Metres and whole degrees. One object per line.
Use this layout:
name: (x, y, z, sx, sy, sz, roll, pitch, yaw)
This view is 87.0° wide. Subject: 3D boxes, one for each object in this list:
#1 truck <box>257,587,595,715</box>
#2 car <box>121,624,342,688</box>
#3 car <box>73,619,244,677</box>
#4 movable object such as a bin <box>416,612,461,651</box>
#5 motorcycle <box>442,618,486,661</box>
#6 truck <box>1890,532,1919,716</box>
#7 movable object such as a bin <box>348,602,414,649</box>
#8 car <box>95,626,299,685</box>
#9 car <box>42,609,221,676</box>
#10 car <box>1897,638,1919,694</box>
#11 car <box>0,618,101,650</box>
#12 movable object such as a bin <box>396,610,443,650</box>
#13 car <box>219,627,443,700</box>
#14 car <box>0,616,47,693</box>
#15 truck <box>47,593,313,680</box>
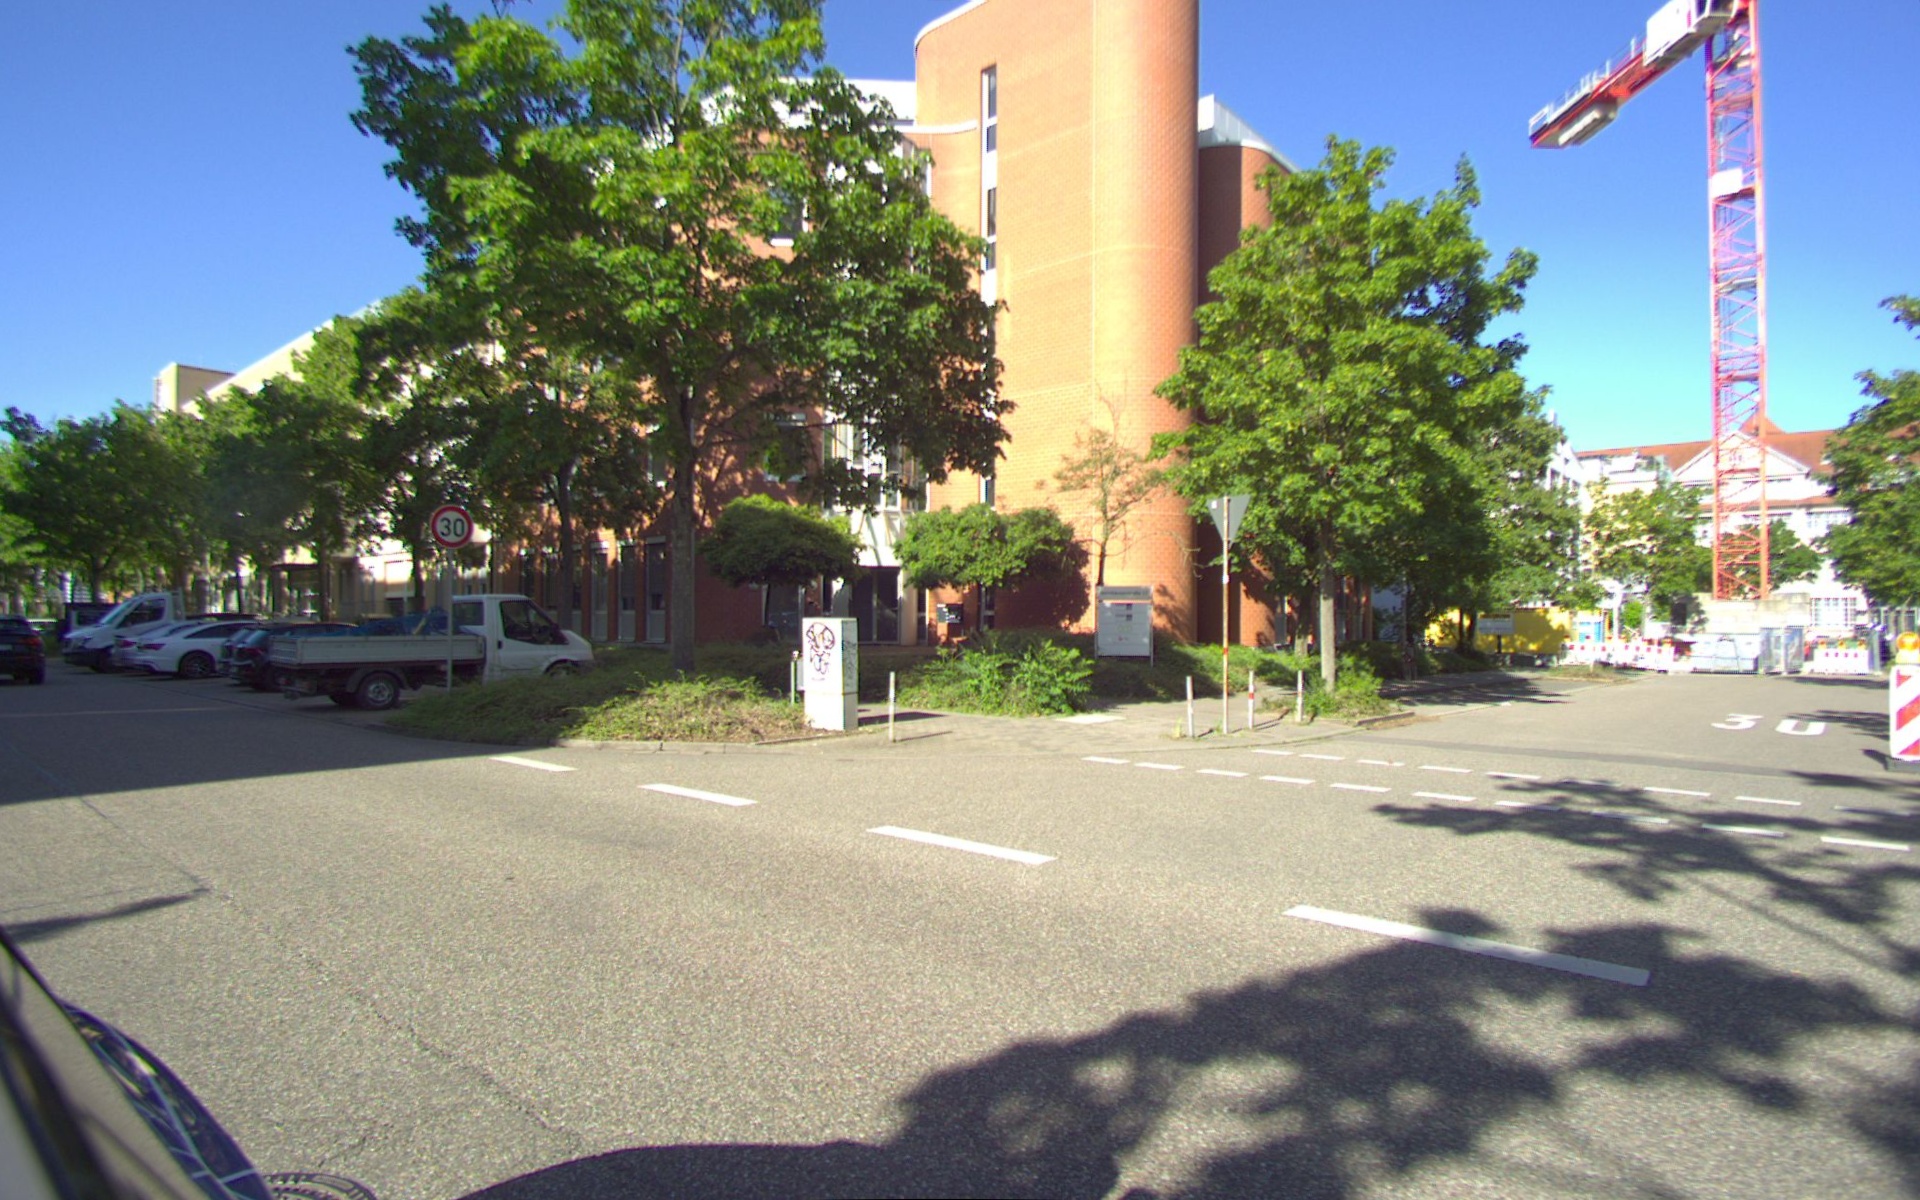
truck: (-9.447, 0.898, 18.249, 2.138, 1.974, 4.930, -2, -3, 43)
car: (-19.488, 1.439, 27.236, 1.888, 1.453, 4.496, -2, -1, 39)
car: (-25.961, 1.493, 32.882, 1.998, 1.674, 4.066, -1, 0, 39)
movable object such as a bin: (-21.392, 1.277, 41.531, 1.239, 1.575, 1.137, -1, -2, 29)
motorcycle: (-18.915, 1.479, 38.585, 2.108, 1.603, 0.707, -1, -2, 40)
truck: (16.343, 0.407, 15.564, 2.575, 2.725, 6.043, -1, -2, 39)
movable object such as a bin: (-25.550, 1.147, 44.677, 1.783, 1.624, 1.645, -2, -19, 40)
car: (-21.893, 1.524, 29.192, 1.998, 1.498, 4.382, -1, -1, 40)
car: (-28.202, 1.388, 34.561, 1.998, 2.067, 4.437, -1, 0, 39)
car: (30.743, 2.040, 31.640, 2.009, 1.690, 3.945, -1, -2, 41)
car: (-46.190, 1.714, 51.377, 1.753, 1.463, 3.716, -1, 0, 41)
movable object such as a bin: (-22.525, 1.255, 42.192, 1.436, 1.632, 1.137, -1, -2, 29)
car: (-13.913, 1.347, 22.524, 1.790, 1.446, 3.941, -1, -2, 45)
car: (-23.167, 1.238, 23.802, 4.348, 1.697, 1.873, -1, -2, 39)
truck: (-23.857, 1.148, 31.241, 2.186, 2.440, 6.166, -2, -3, 41)
